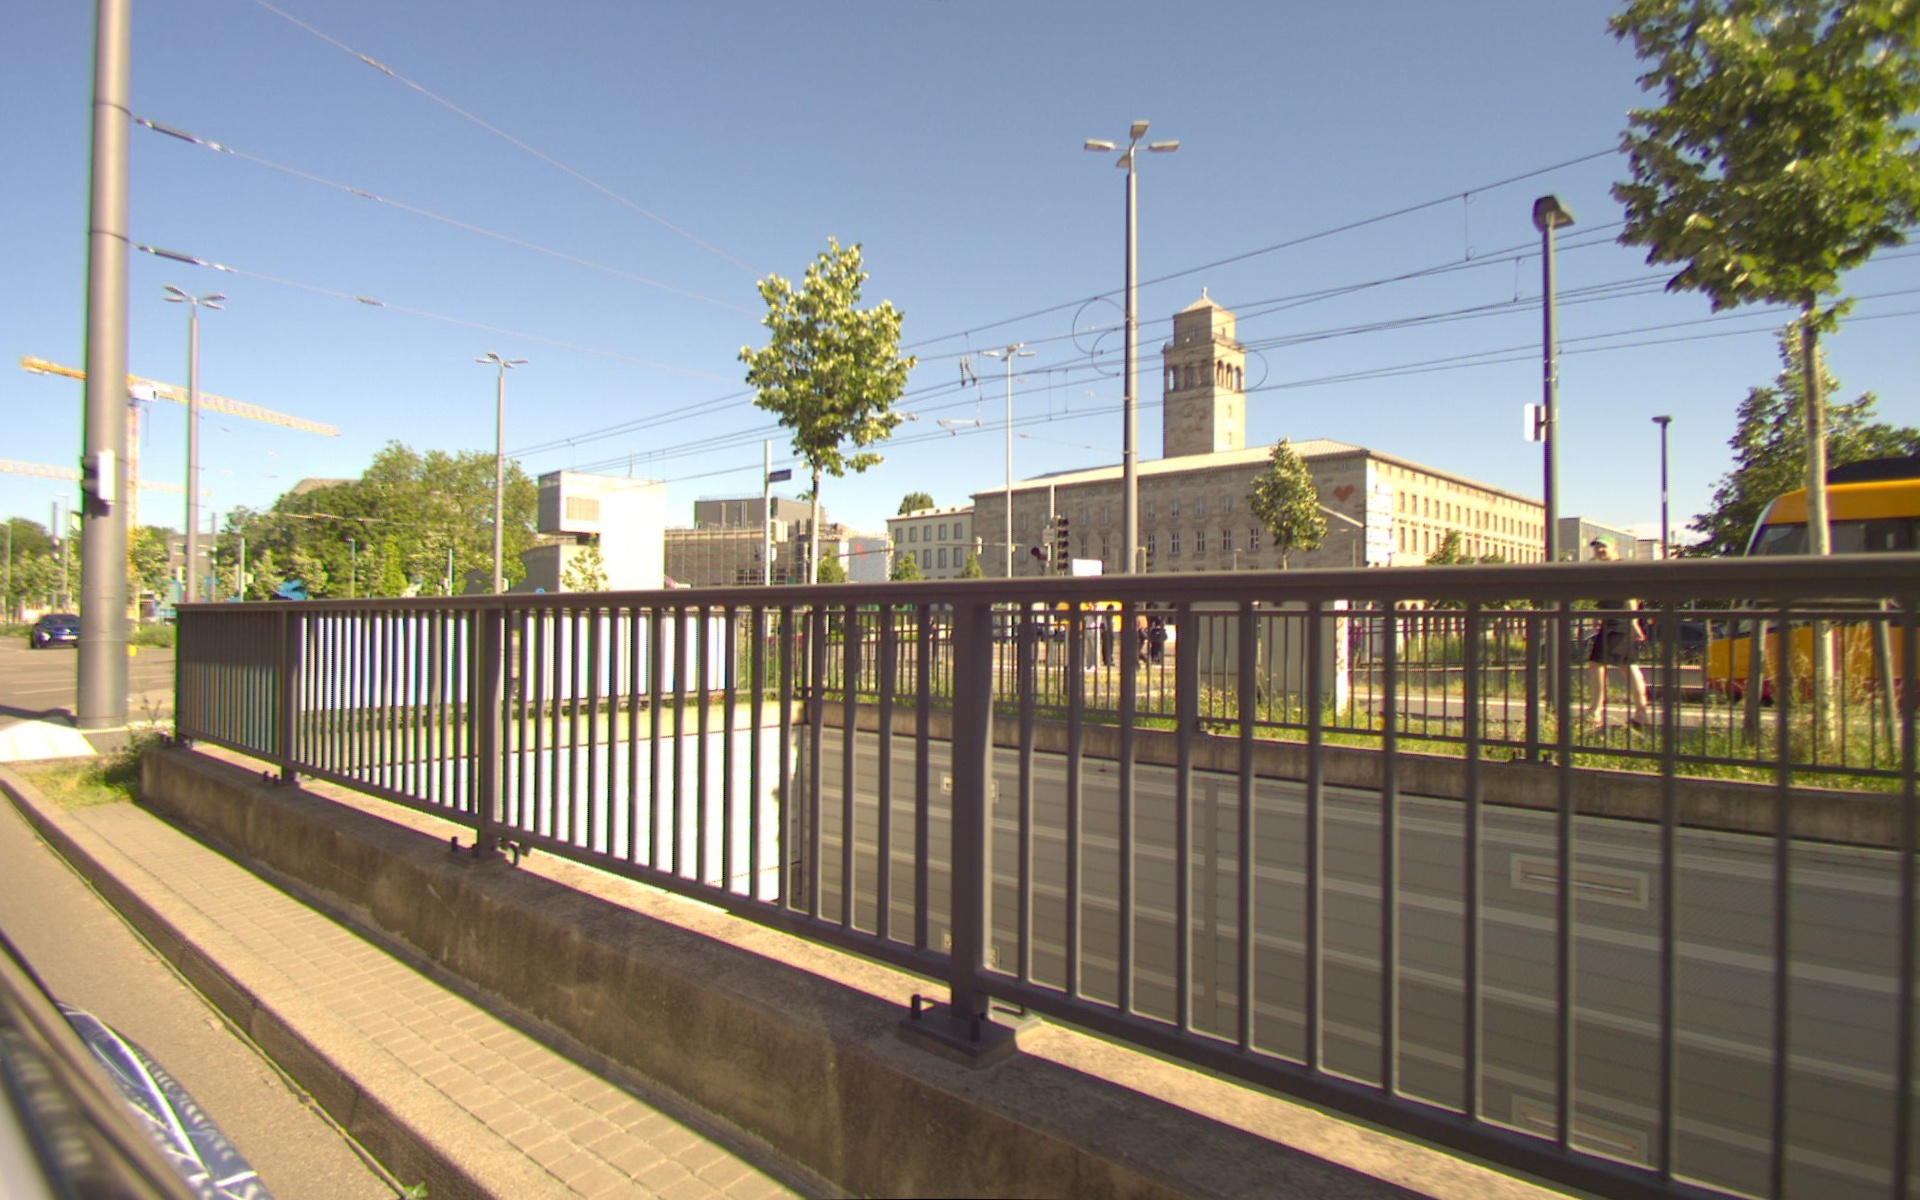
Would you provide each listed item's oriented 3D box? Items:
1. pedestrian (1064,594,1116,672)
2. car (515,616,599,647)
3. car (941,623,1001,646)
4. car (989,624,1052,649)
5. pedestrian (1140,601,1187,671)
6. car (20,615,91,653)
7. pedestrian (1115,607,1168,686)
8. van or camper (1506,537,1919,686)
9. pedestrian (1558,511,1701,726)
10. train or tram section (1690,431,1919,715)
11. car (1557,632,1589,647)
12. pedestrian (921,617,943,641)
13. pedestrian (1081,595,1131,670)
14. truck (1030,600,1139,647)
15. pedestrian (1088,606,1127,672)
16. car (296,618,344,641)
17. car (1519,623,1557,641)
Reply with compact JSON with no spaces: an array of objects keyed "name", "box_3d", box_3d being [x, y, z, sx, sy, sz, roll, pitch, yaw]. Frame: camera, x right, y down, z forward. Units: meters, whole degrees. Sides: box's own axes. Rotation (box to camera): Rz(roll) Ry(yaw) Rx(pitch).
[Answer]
[{"name":"pedestrian","box_3d":[3.134,0.790,24.342,0.975,1.837,0.792,-1,-2,39]},{"name":"car","box_3d":[-21.809,1.680,54.737,4.821,1.573,1.975,-1,-2,37]},{"name":"car","box_3d":[0.797,2.358,69.546,3.940,1.551,1.905,1,-2,-44]},{"name":"car","box_3d":[3.958,2.346,65.948,3.940,1.551,1.905,1,-2,-44]},{"name":"pedestrian","box_3d":[5.478,0.949,27.233,0.975,1.837,0.792,-1,-2,39]},{"name":"car","box_3d":[-41.210,1.511,46.072,4.083,1.600,1.753,-1,0,38]},{"name":"pedestrian","box_3d":[4.311,1.088,24.006,0.975,1.837,0.792,-1,-2,39]},{"name":"van or camper","box_3d":[16.999,0.298,23.379,7.336,2.959,2.578,-1,-2,40]},{"name":"pedestrian","box_3d":[5.959,0.163,9.008,0.958,1.788,0.696,-2,-1,38]},{"name":"train or tram section","box_3d":[15.478,-0.402,10.092,13.066,3.334,2.841,-1,0,41]},{"name":"car","box_3d":[66.136,4.251,109.107,3.940,1.613,2.002,1,-2,-44]},{"name":"pedestrian","box_3d":[-1.994,2.074,71.998,0.947,1.698,1.179,-3,-2,42]},{"name":"pedestrian","box_3d":[3.680,0.817,25.553,0.975,1.837,0.792,-1,-2,39]},{"name":"truck","box_3d":[8.048,1.465,64.496,7.913,2.814,2.465,1,-2,-44]},{"name":"pedestrian","box_3d":[4.143,1.087,28.484,0.789,1.837,0.884,0,-2,-16]},{"name":"car","box_3d":[-49.045,2.268,77.546,4.559,1.720,1.972,-1,-2,42]},{"name":"car","box_3d":[53.479,2.971,93.544,3.940,1.613,2.002,1,-2,-44]}]
